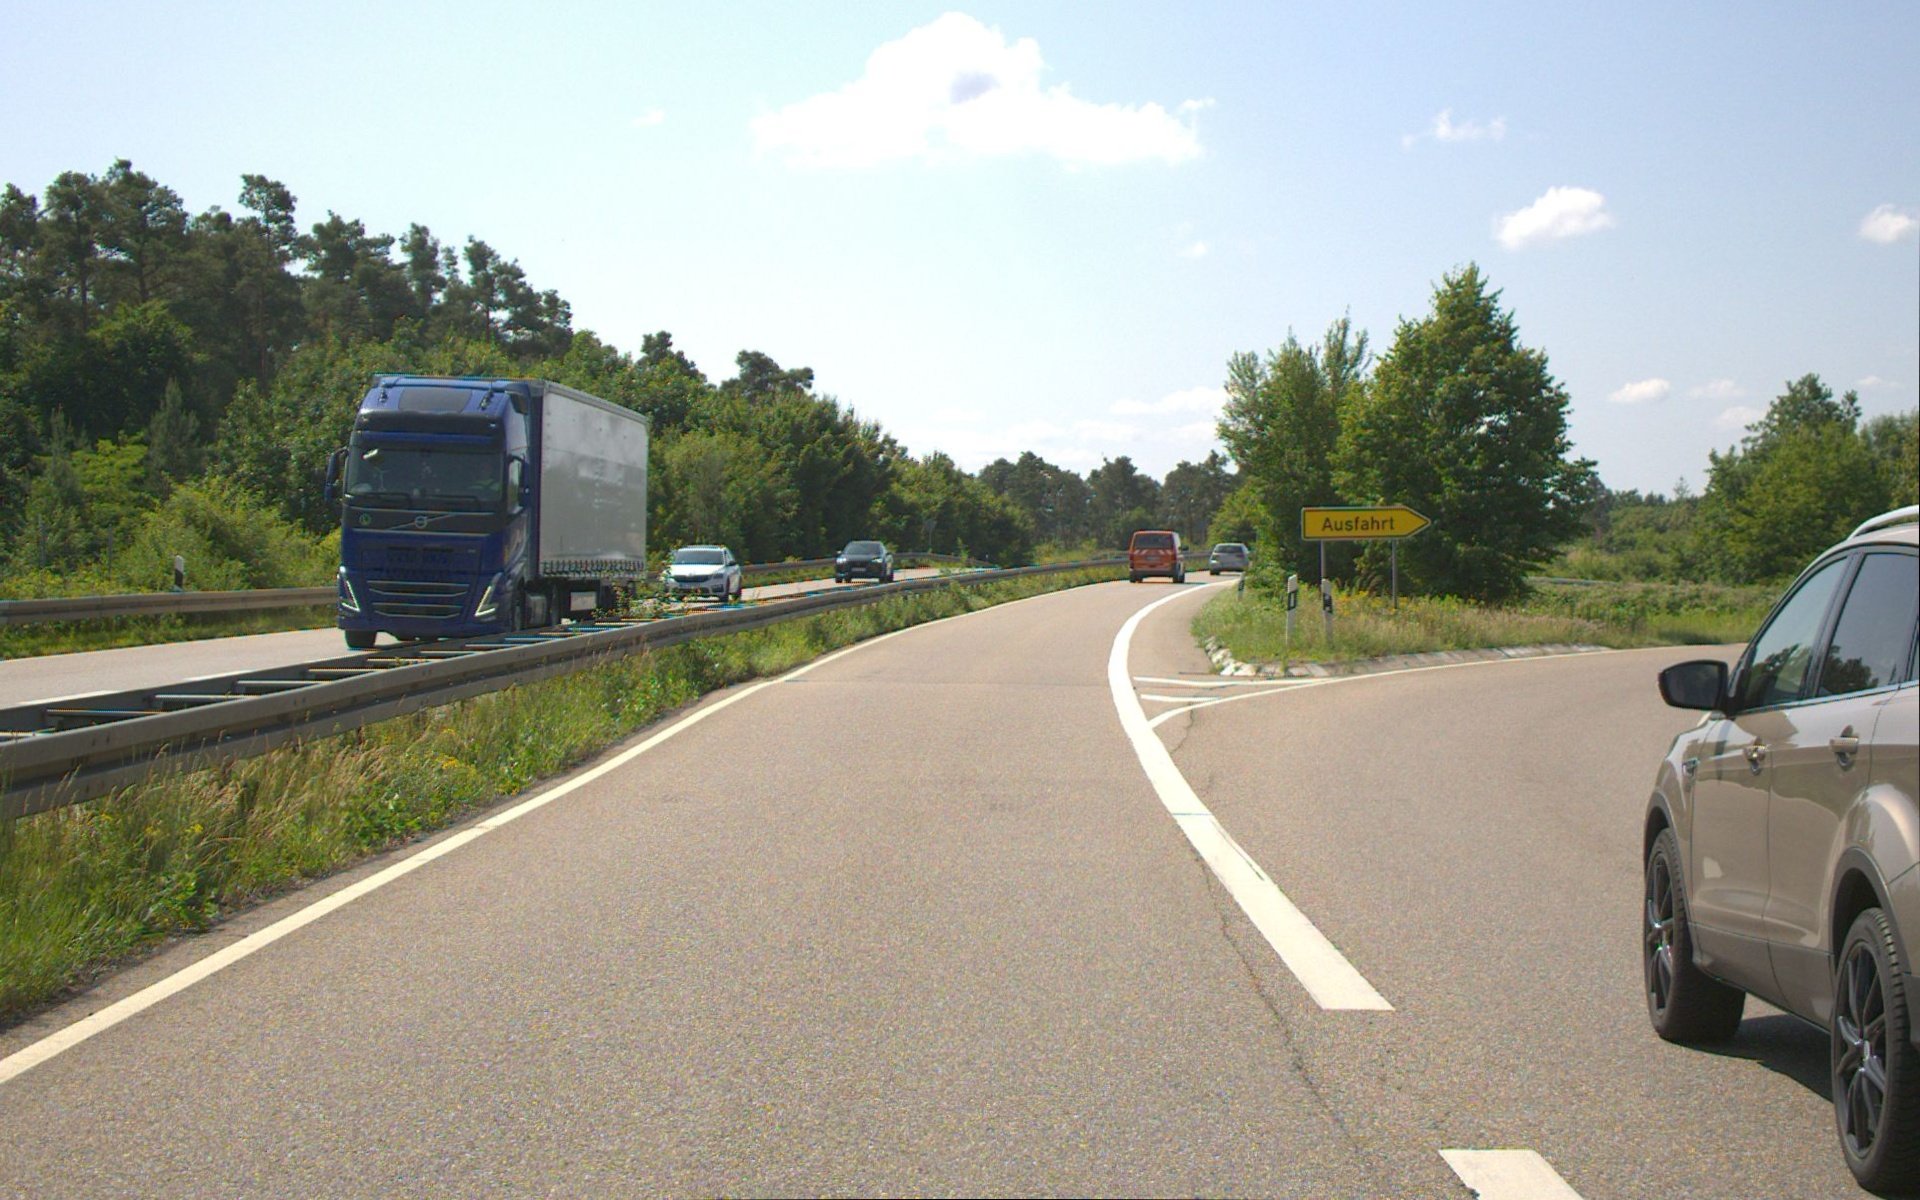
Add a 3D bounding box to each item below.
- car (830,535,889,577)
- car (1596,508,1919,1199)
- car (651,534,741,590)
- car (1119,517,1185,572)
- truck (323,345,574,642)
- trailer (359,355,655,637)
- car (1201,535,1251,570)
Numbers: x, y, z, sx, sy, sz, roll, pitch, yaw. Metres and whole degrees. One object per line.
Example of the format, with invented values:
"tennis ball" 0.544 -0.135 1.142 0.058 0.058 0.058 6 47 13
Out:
"car" -3.685 -1.629 126.401 1.755 1.495 4.574 1 1 3
"car" 3.120 0.592 9.662 1.894 1.660 4.666 1 1 1
"car" -6.981 -1.023 91.256 1.794 1.439 4.606 1 1 3
"car" 7.339 -2.102 130.845 2.078 1.986 5.110 1 0 8
"truck" -7.559 -1.546 51.483 2.767 4.173 5.598 1 1 1
"trailer" -7.391 -1.646 58.449 2.746 4.158 14.583 1 1 1
"car" 12.162 -2.159 156.943 2.008 1.488 4.237 1 0 8
